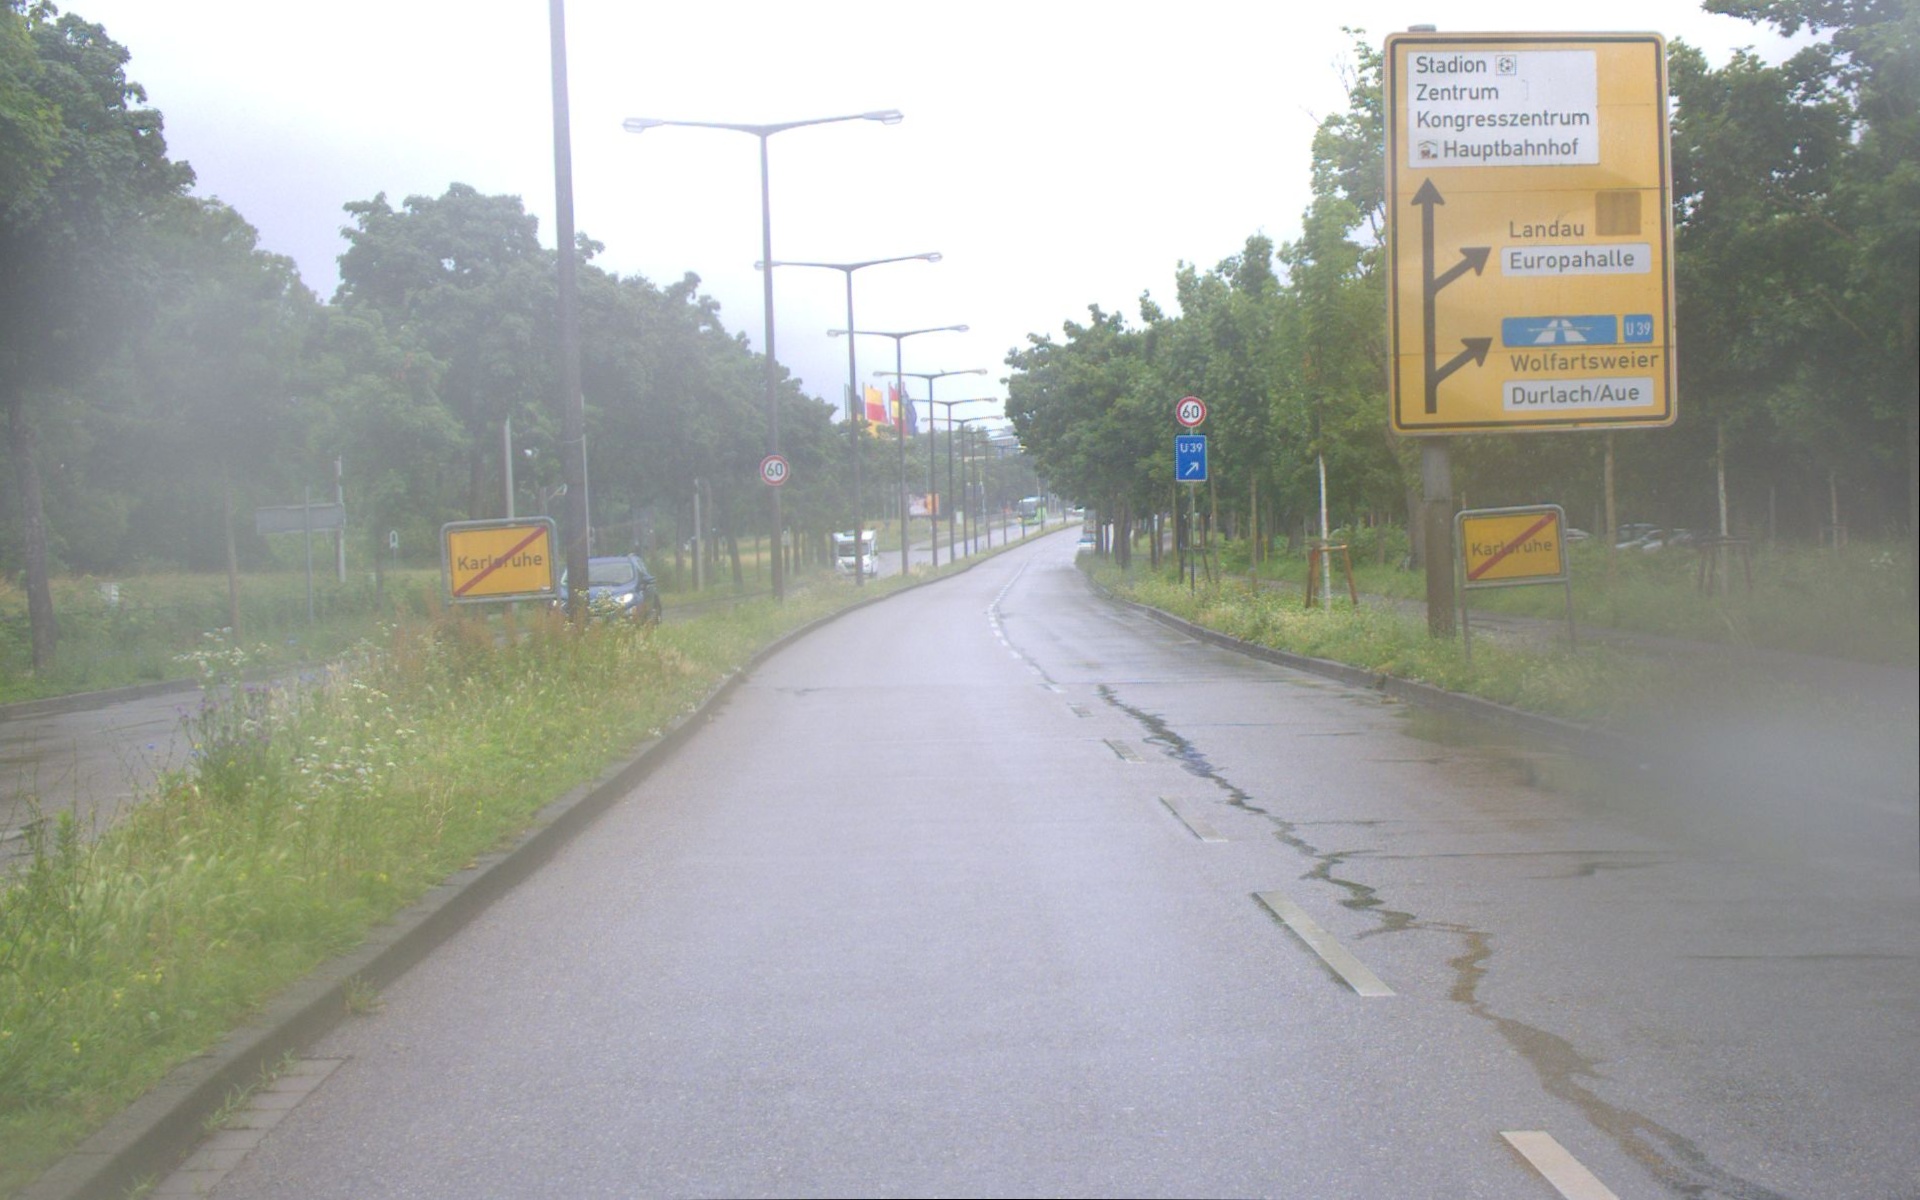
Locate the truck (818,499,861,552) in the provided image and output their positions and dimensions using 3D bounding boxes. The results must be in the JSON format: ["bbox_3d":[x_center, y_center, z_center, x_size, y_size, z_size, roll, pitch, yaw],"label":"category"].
[{"bbox_3d":[-6.855,-4.237,196.445,2.138,2.834,5.074,-3,0,0],"label":"truck"}]

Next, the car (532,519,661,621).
[{"bbox_3d":[-6.520,-0.573,62.068,1.743,1.644,4.136,-4,1,0],"label":"car"}]
